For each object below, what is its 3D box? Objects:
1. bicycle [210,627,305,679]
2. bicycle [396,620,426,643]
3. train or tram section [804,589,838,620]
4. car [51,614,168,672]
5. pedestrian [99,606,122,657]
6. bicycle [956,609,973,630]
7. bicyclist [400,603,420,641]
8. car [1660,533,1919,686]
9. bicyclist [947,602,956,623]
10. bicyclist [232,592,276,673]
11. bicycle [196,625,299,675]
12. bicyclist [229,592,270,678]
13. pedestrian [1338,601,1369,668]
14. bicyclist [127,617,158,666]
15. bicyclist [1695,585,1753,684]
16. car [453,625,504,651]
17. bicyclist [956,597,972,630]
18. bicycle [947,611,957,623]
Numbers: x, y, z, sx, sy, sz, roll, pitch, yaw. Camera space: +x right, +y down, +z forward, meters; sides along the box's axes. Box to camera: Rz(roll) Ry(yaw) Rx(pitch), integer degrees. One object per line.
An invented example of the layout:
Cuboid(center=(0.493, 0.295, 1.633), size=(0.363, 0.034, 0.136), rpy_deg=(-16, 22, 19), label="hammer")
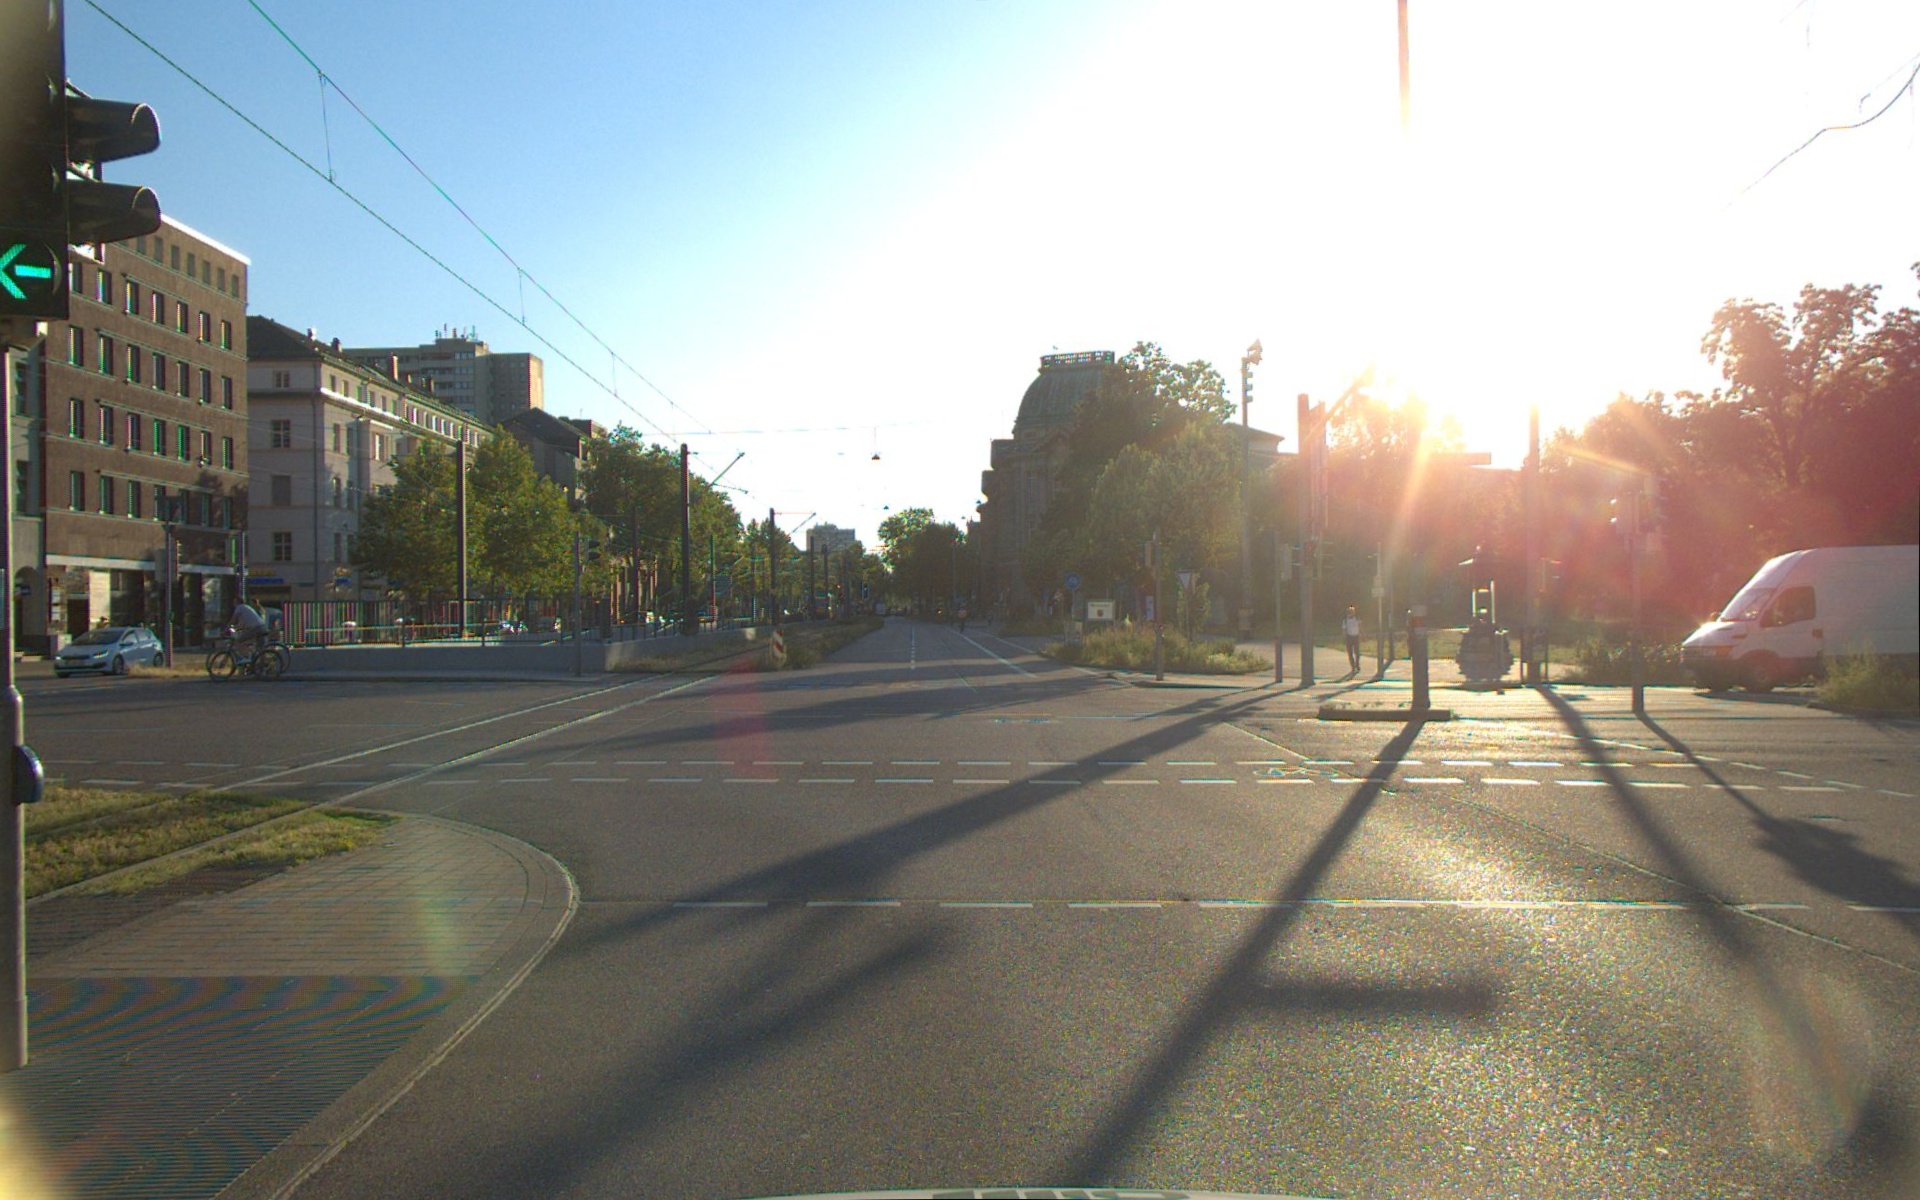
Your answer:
Cuboid(center=(-15.343, 1.151, 36.174), size=(1.873, 1.094, 0.628), rpy_deg=(-1, -1, -20), label="bicycle")
Cuboid(center=(-30.123, 1.729, 90.785), size=(0.796, 1.222, 2.413), rpy_deg=(-1, 0, 1), label="bicycle")
Cuboid(center=(-18.250, 0.643, 216.699), size=(4.301, 3.917, 11.397), rpy_deg=(-1, 0, -5), label="train or tram section")
Cuboid(center=(-26.186, 1.295, 51.044), size=(1.655, 1.646, 3.998), rpy_deg=(-1, 0, -3), label="car")
Cuboid(center=(-36.791, 1.354, 71.630), size=(0.589, 2.216, 0.792), rpy_deg=(-1, -1, -1), label="pedestrian")
Cuboid(center=(0.313, 1.360, 113.800), size=(1.075, 1.423, 2.831), rpy_deg=(-1, -1, -1), label="bicycle")
Cuboid(center=(-30.145, 1.212, 90.679), size=(0.780, 2.049, 0.923), rpy_deg=(-1, -1, 1), label="bicyclist")
Cuboid(center=(17.692, 0.171, 32.599), size=(6.866, 2.877, 2.093), rpy_deg=(-1, -1, 1), label="car")
Cuboid(center=(-0.830, 1.269, 165.451), size=(0.907, 2.049, 0.850), rpy_deg=(0, -1, -1), label="bicyclist")
Cuboid(center=(-16.230, 0.743, 38.036), size=(0.862, 1.850, 0.535), rpy_deg=(-1, -1, -18), label="bicyclist")
Cuboid(center=(-16.341, 1.139, 37.990), size=(2.130, 1.102, 0.536), rpy_deg=(0, -1, -19), label="bicycle")
Cuboid(center=(-15.509, 0.765, 36.106), size=(0.781, 1.850, 0.642), rpy_deg=(-1, -1, -21), label="bicyclist")
Cuboid(center=(10.967, 0.945, 46.059), size=(0.815, 1.835, 0.811), rpy_deg=(-1, -1, 14), label="pedestrian")
Cuboid(center=(-29.938, 1.526, 60.591), size=(0.686, 1.773, 0.792), rpy_deg=(-1, -1, 10), label="bicyclist")
Cuboid(center=(16.033, 0.720, 34.733), size=(0.880, 2.049, 0.722), rpy_deg=(-1, -1, 4), label="bicyclist")
Cuboid(center=(-29.549, 2.318, 101.673), size=(1.781, 1.445, 4.001), rpy_deg=(-1, 0, 3), label="car")
Cuboid(center=(0.285, 0.929, 113.817), size=(1.060, 2.316, 0.986), rpy_deg=(0, -1, -1), label="bicyclist")
Cuboid(center=(-0.817, 1.682, 165.458), size=(0.905, 1.131, 2.332), rpy_deg=(-1, -1, -1), label="bicycle")
